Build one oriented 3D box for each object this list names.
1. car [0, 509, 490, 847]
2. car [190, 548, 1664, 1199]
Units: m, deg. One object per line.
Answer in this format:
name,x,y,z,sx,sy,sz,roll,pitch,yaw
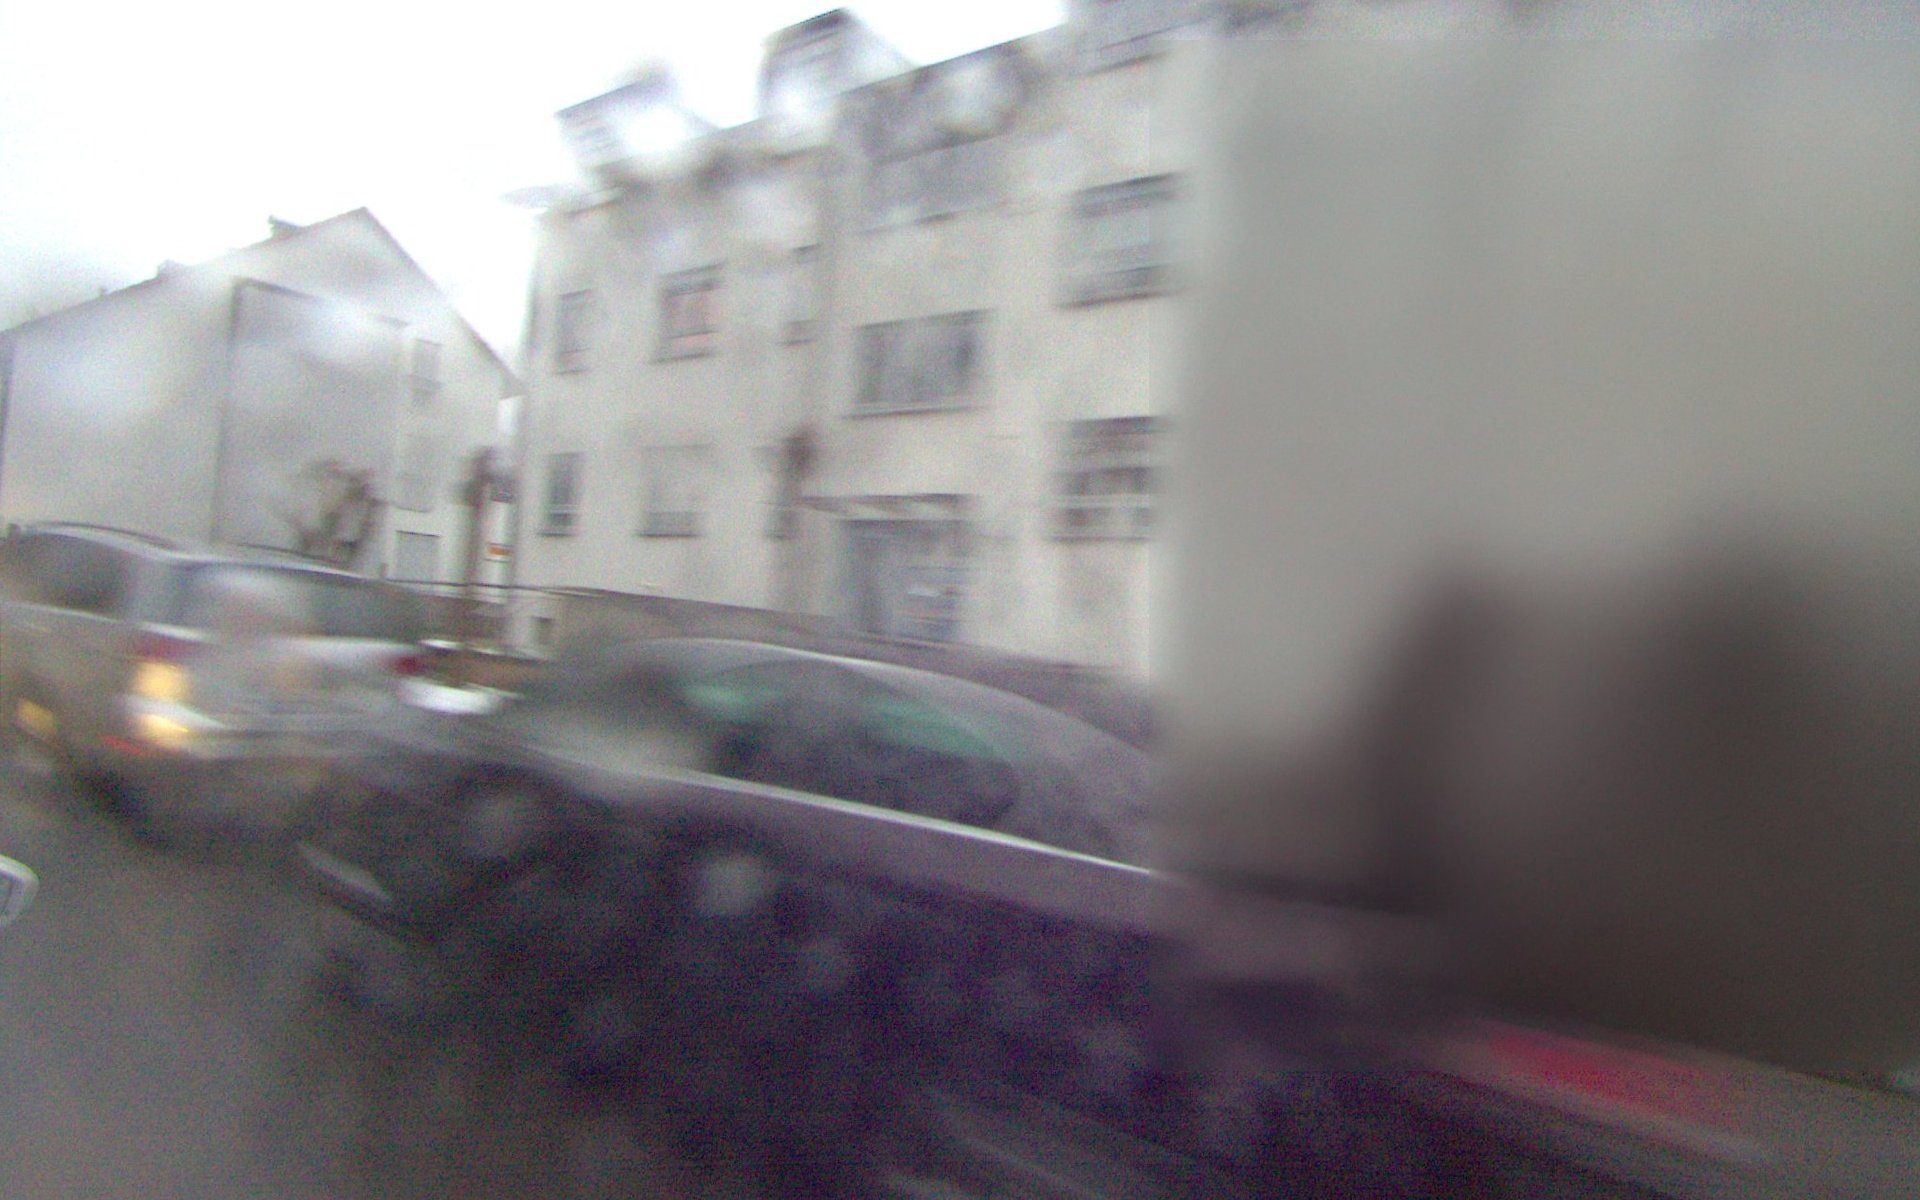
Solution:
car,-5.204,0.288,6.384,4.382,1.445,1.742,6,-3,31
car,-0.510,0.809,3.402,4.488,1.445,1.660,6,-3,31
